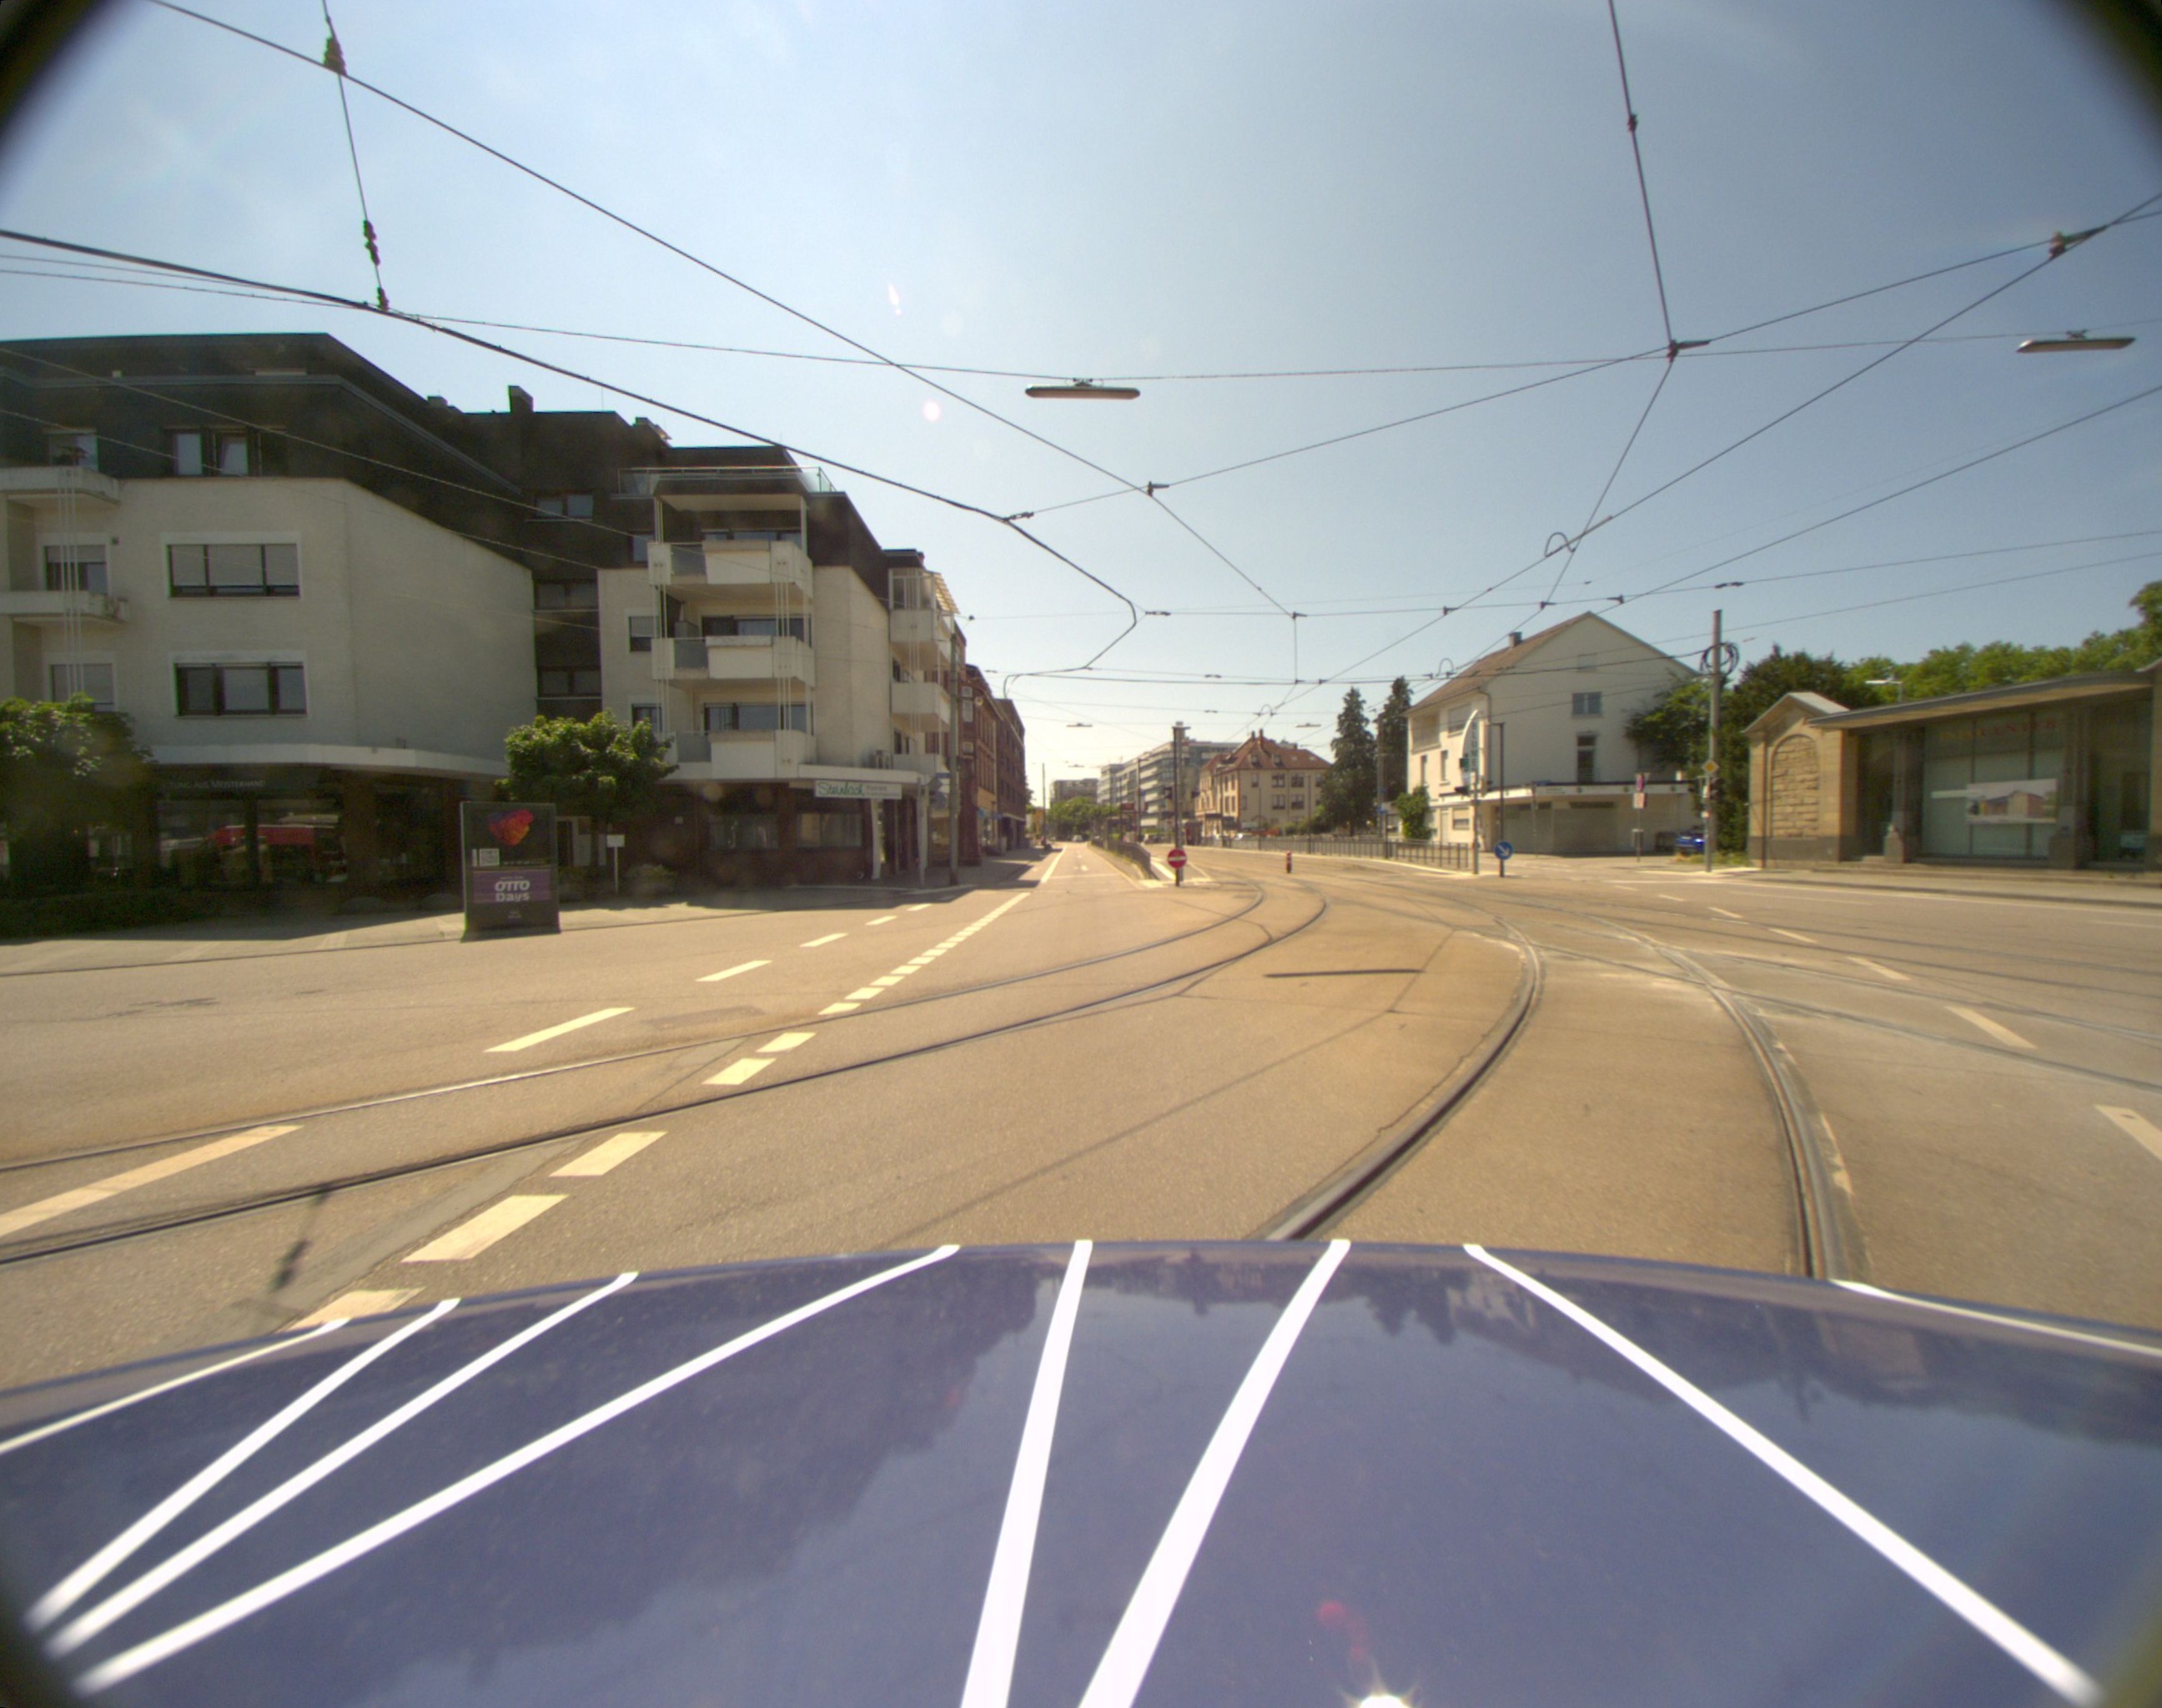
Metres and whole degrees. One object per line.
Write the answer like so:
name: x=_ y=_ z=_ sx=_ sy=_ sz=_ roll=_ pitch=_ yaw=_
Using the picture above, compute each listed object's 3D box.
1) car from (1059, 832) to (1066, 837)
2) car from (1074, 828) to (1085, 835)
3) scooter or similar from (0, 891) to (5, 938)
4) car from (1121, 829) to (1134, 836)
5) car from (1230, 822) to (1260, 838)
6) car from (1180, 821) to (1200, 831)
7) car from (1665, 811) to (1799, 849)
car: x=-5.804 y=-6.130 z=239.145 sx=1.574 sy=1.474 sz=3.597 roll=-2 pitch=2 yaw=-12
car: x=-0.352 y=-5.884 z=197.417 sx=1.862 sy=1.807 sz=4.692 roll=-1 pitch=2 yaw=-11
scooter or similar: x=-18.314 y=0.808 z=12.094 sx=1.257 sy=1.206 sz=0.393 roll=-2 pitch=3 yaw=-26
car: x=9.152 y=-4.294 z=149.905 sx=1.824 sy=1.388 sz=4.170 roll=-2 pitch=2 yaw=-9
car: x=15.904 y=-2.368 z=73.893 sx=1.823 sy=1.481 sz=4.496 roll=-1 pitch=2 yaw=-2
car: x=15.419 y=-3.950 z=107.813 sx=1.862 sy=1.434 sz=4.474 roll=-1 pitch=2 yaw=-4
car: x=27.113 y=-1.010 z=31.753 sx=3.954 sy=1.444 sz=1.823 roll=-1 pitch=3 yaw=4
